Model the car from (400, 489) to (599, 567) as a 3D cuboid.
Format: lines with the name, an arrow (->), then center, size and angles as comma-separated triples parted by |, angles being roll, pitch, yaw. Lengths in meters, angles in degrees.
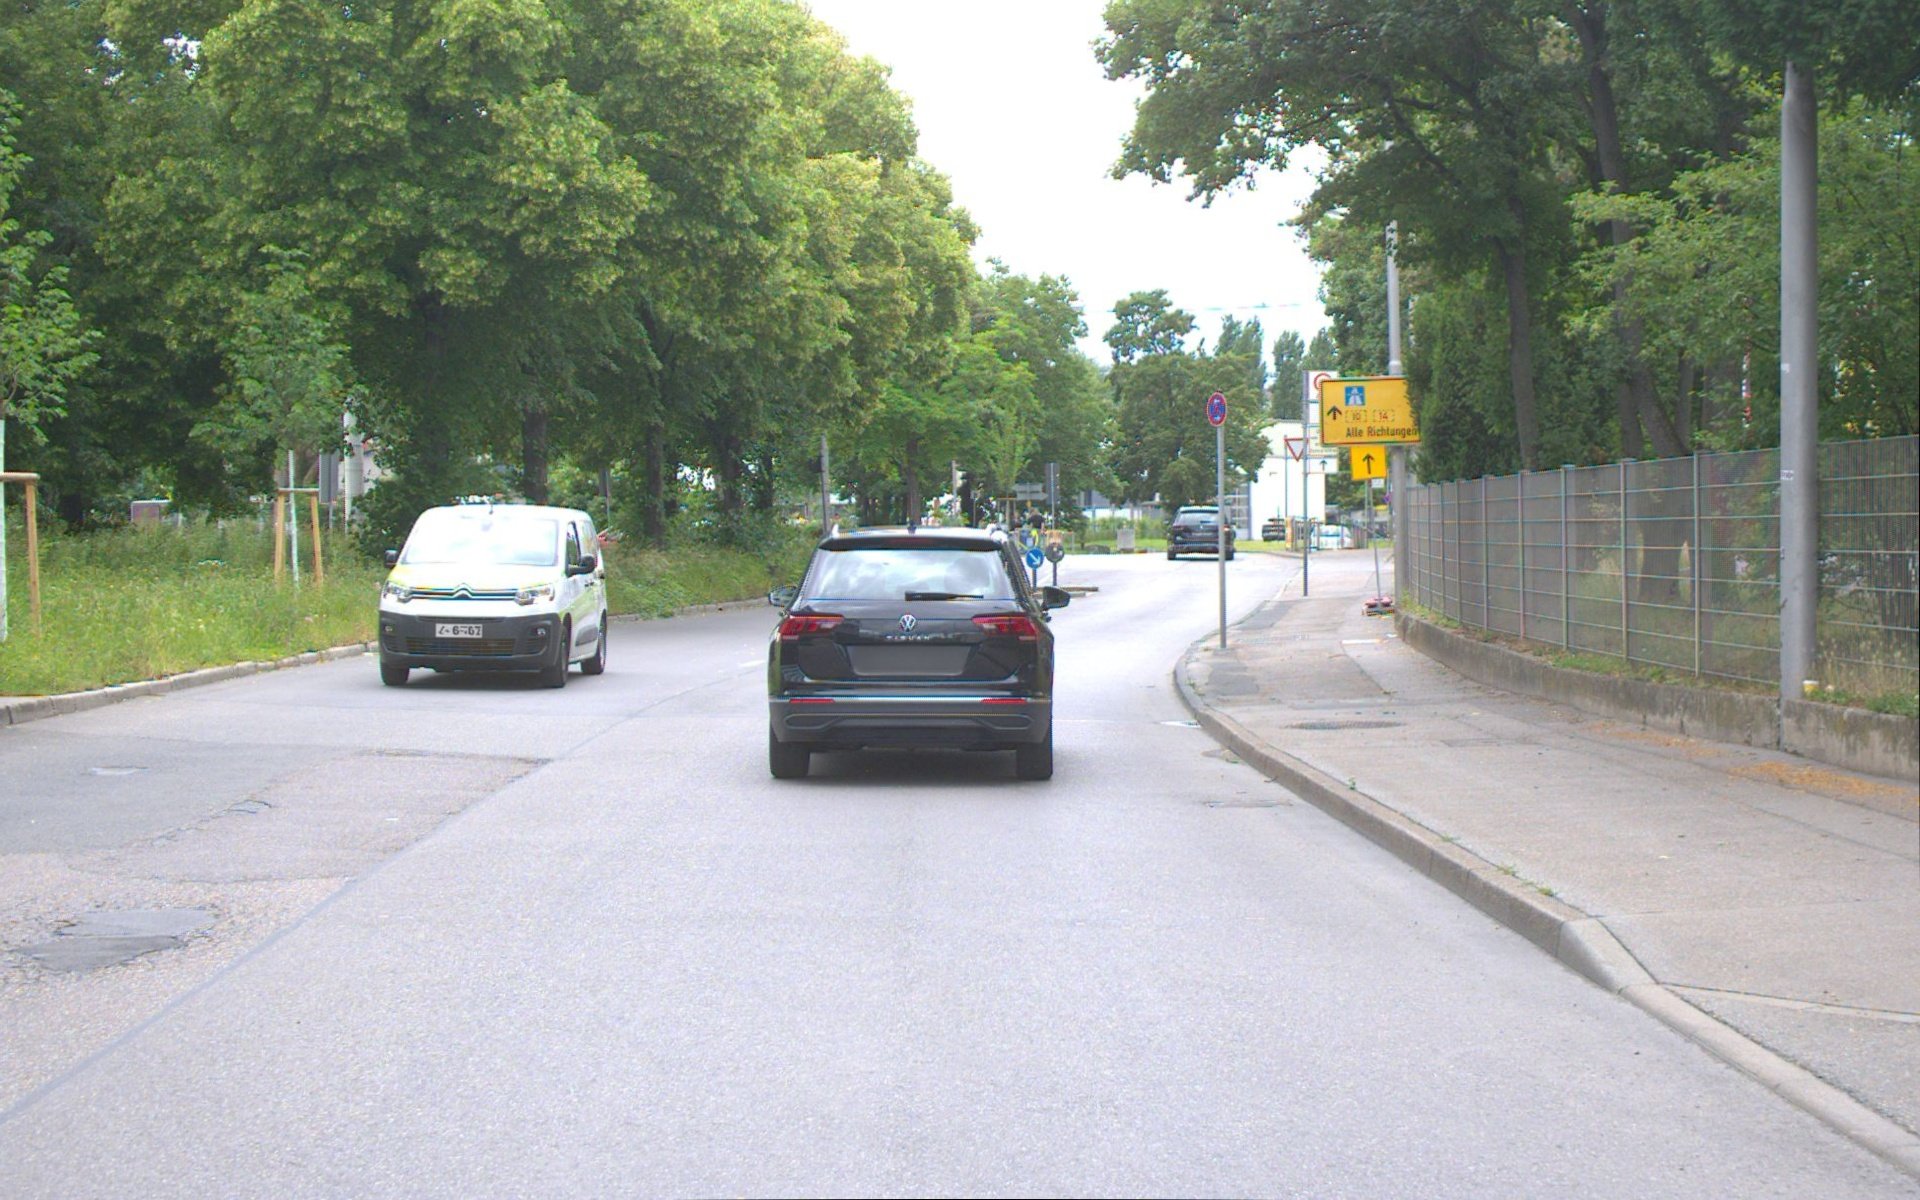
car -> -14.955, -2.348, 111.810 | 6.070, 2.379, 2.395 | -1, 2, 2

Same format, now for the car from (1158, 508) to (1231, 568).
car -> 6.421, -1.698, 94.455 | 1.659, 1.569, 3.829 | -2, 1, 0

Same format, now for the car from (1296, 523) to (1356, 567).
car -> 15.068, -2.291, 141.538 | 1.995, 1.780, 3.998 | 0, 1, 13

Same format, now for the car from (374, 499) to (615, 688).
car -> -4.591, -0.107, 34.426 | 1.808, 1.758, 4.206 | 0, 1, 0

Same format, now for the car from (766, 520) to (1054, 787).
car -> -0.284, 0.309, 22.772 | 1.739, 1.612, 3.641 | -1, 0, 1
